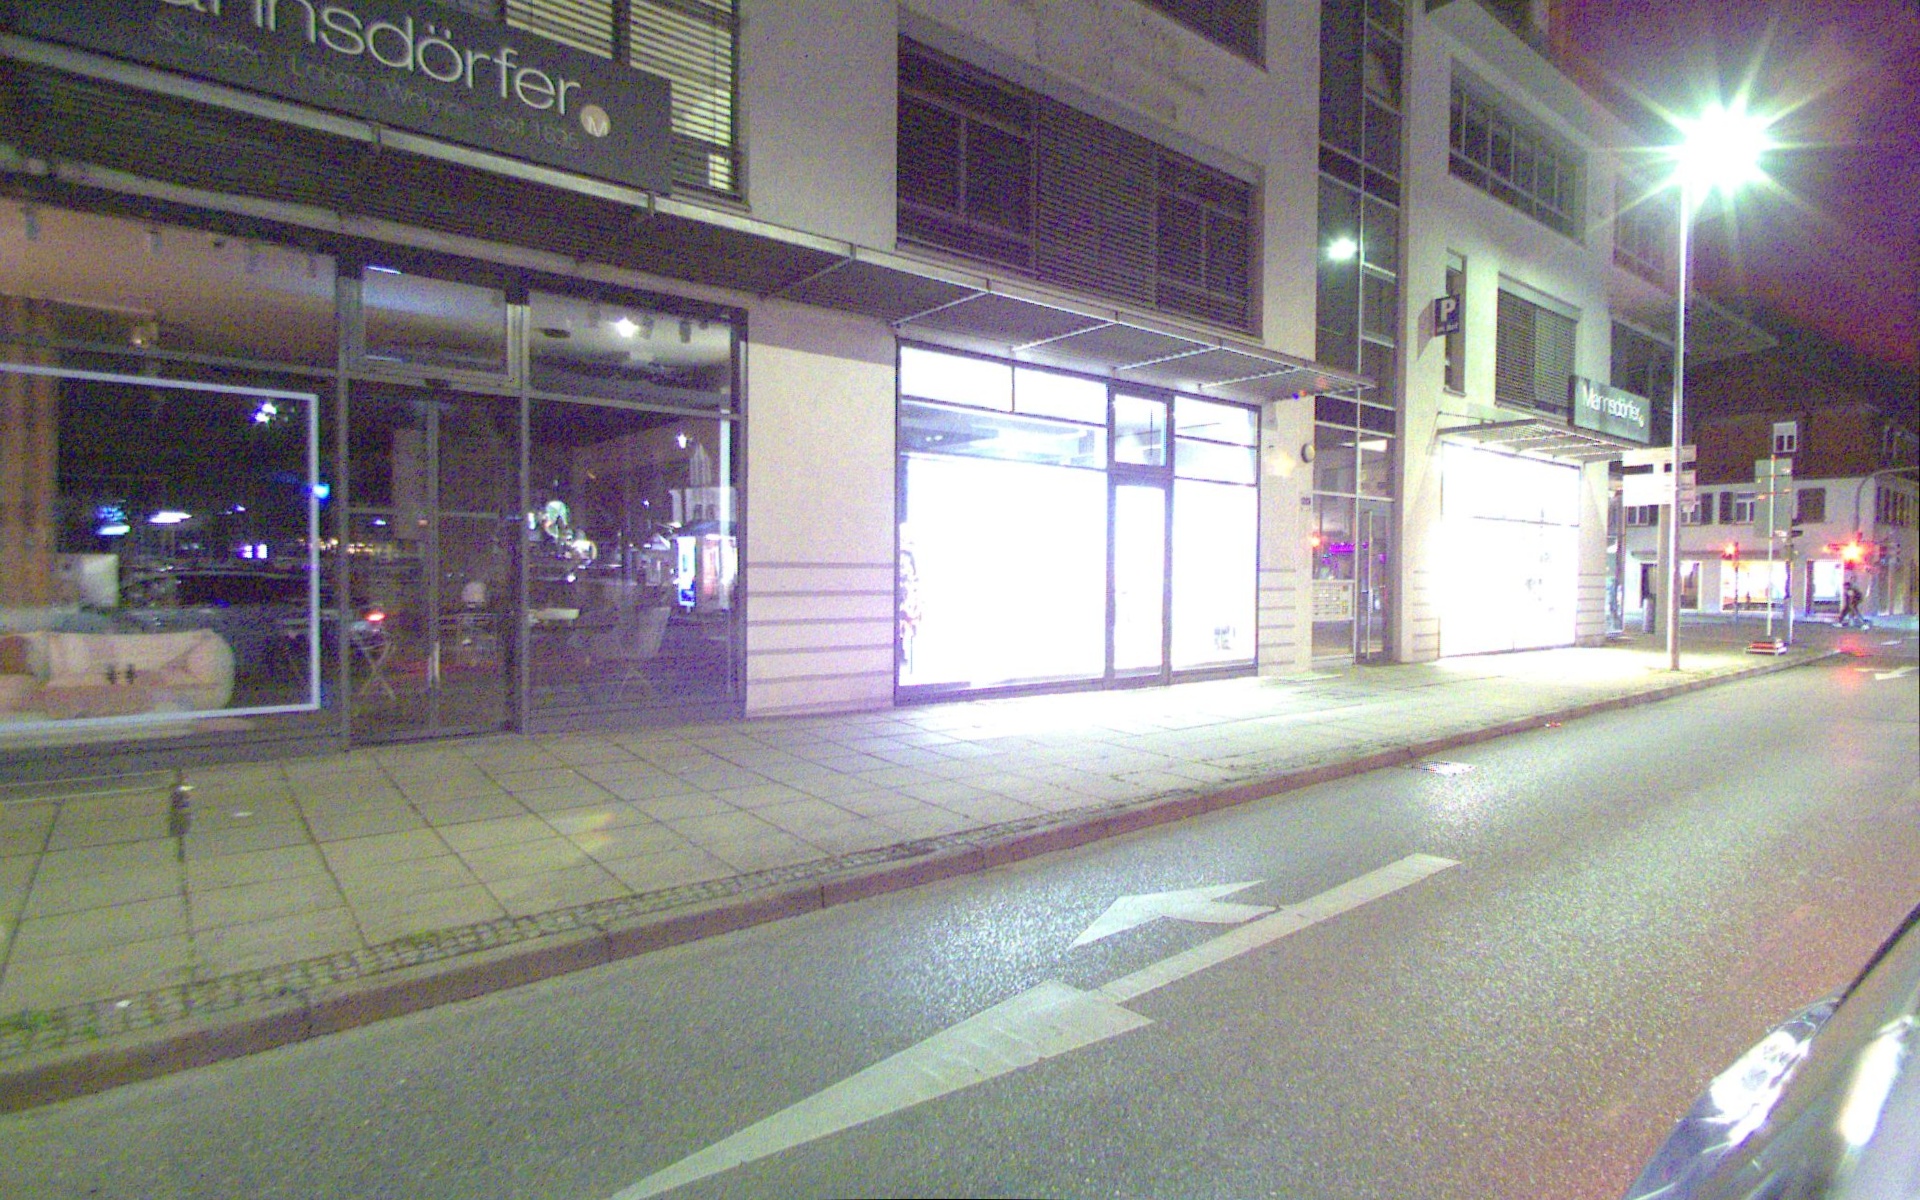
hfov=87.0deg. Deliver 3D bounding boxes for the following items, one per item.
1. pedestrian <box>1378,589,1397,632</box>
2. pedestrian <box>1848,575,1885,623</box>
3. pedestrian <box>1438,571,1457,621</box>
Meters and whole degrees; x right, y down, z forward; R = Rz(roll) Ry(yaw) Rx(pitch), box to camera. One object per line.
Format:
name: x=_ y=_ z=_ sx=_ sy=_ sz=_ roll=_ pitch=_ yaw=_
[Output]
pedestrian: x=17.417 y=0.438 z=41.246 sx=0.557 sy=1.738 sz=0.524 roll=0 pitch=0 yaw=-41
pedestrian: x=34.234 y=-0.048 z=38.224 sx=0.635 sy=1.755 sz=0.877 roll=0 pitch=2 yaw=-37
pedestrian: x=16.875 y=-0.143 z=35.010 sx=0.478 sy=1.708 sz=0.407 roll=0 pitch=0 yaw=-36
